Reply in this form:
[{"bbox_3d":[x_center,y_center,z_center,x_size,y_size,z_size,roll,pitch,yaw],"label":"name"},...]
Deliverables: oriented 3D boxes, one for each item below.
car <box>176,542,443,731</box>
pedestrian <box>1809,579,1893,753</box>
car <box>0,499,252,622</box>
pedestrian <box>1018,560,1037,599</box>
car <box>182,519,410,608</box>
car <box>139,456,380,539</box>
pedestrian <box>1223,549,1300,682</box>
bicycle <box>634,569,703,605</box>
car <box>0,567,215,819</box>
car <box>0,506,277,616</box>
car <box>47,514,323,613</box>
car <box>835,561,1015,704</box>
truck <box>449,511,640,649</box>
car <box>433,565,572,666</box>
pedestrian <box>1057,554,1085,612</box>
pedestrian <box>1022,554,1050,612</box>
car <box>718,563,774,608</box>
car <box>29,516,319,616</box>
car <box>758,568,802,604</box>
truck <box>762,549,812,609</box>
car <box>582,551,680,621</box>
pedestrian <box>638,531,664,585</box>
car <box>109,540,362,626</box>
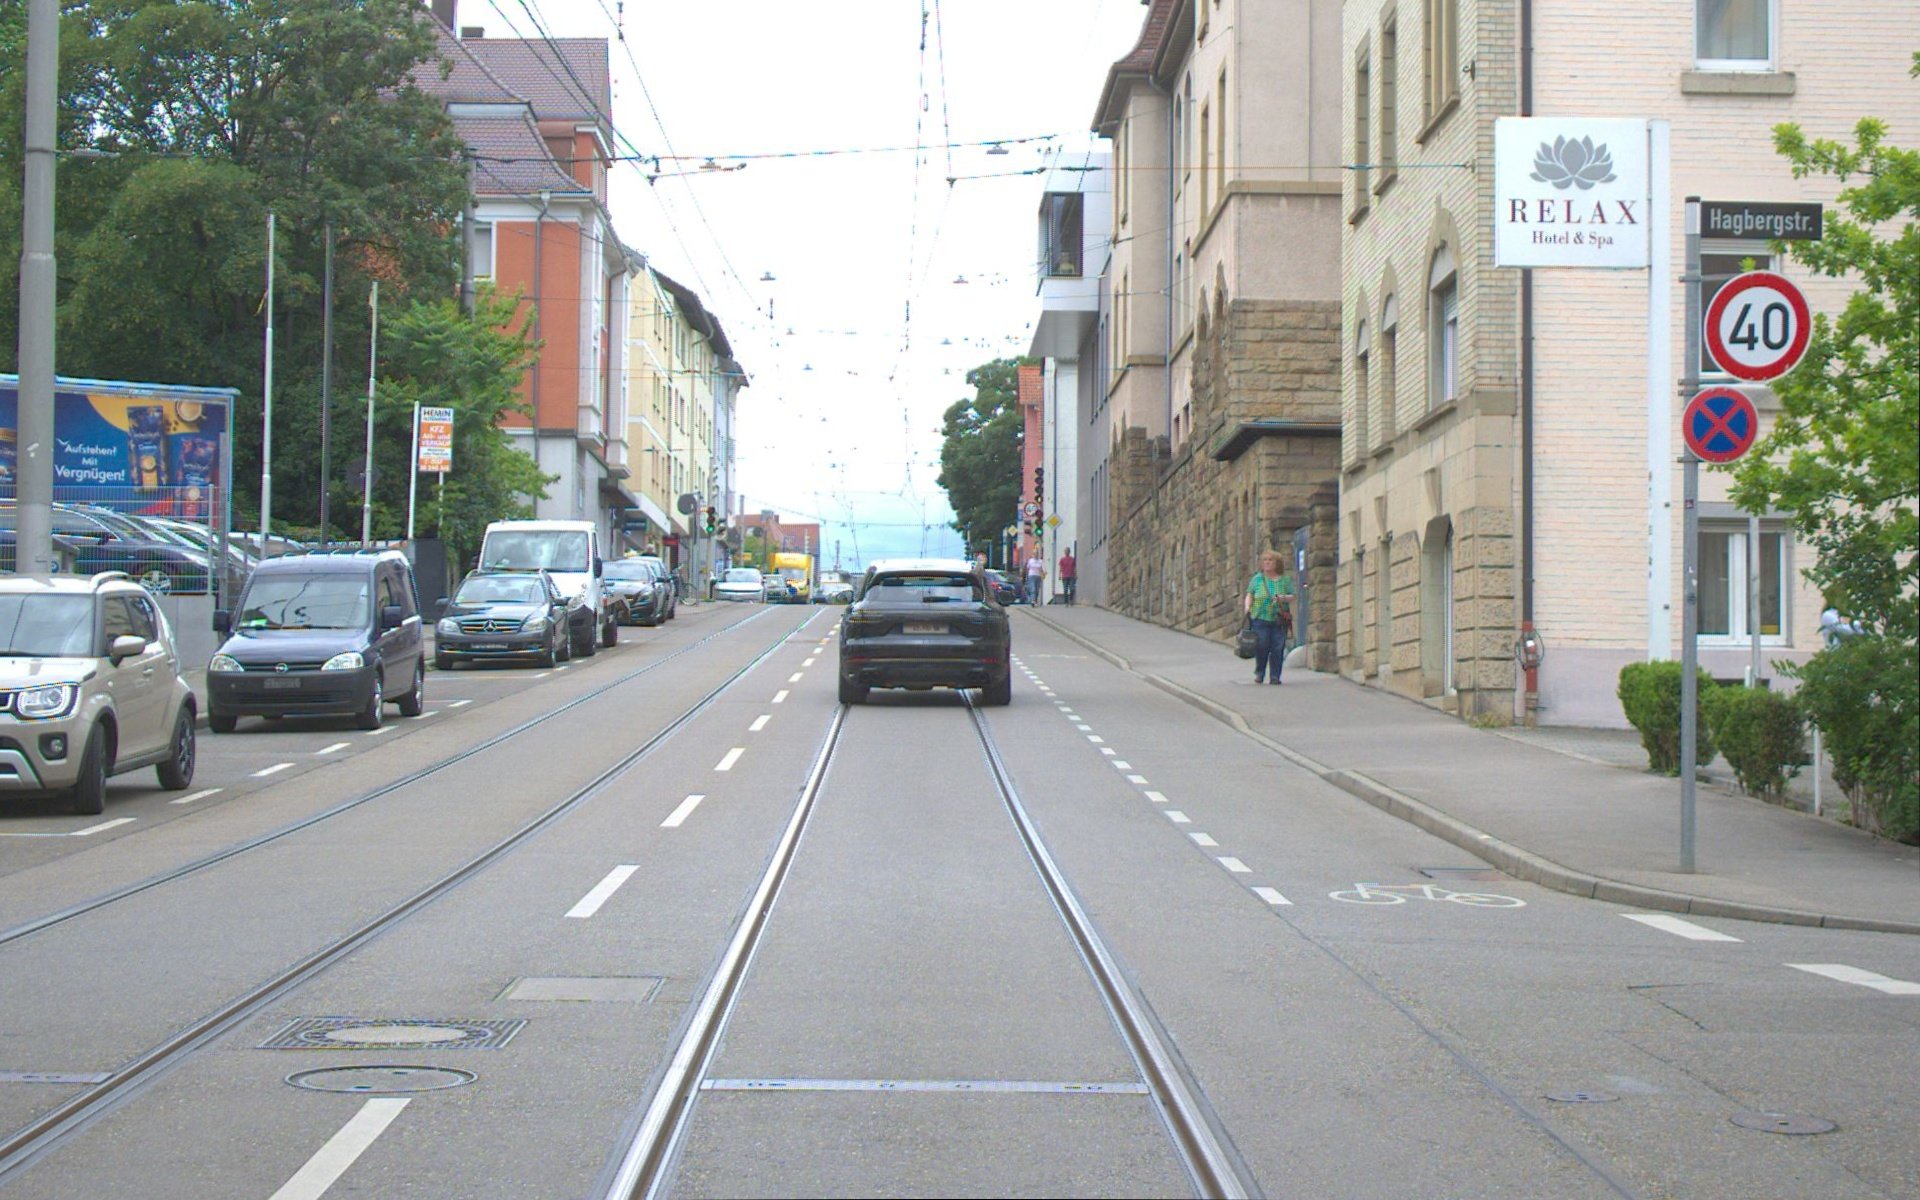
[{"bbox_3d":[-6.439,0.312,34.482,1.744,1.730,4.519,-1,1,1],"label":"car"},{"bbox_3d":[8.211,0.600,31.693,0.558,1.577,0.686,1,1,0],"label":"pedestrian"},{"bbox_3d":[-12.113,-0.575,48.051,4.060,1.547,1.688,2,1,-1],"label":"car"},{"bbox_3d":[2.940,-0.907,150.374,0.791,1.661,0.798,1,1,2],"label":"pedestrian"},{"bbox_3d":[-12.143,-0.669,62.846,3.958,1.546,1.689,1,1,-15],"label":"car"},{"bbox_3d":[-12.243,-1.780,60.211,3.876,1.352,1.688,1,1,-1],"label":"car"},{"bbox_3d":[3.859,0.190,44.044,0.870,1.680,0.663,-1,1,-2],"label":"pedestrian"},{"bbox_3d":[-8.317,-0.380,98.236,1.911,0.996,0.479,1,1,0],"label":"bicycle"},{"bbox_3d":[-6.413,0.566,23.634,1.697,1.550,3.850,1,1,1],"label":"car"},{"bbox_3d":[-12.208,-0.580,50.334,4.060,1.518,1.739,1,1,-1],"label":"car"},{"bbox_3d":[-12.411,-0.594,55.207,4.060,1.489,1.688,1,1,-1],"label":"car"},{"bbox_3d":[-0.408,0.342,40.667,1.993,1.558,4.290,1,1,0],"label":"car"},{"bbox_3d":[-7.069,-0.376,59.355,2.280,2.180,8.025,1,1,0],"label":"truck"},{"bbox_3d":[-6.988,0.209,52.843,1.696,1.428,4.482,-1,1,-2],"label":"car"},{"bbox_3d":[3.236,-0.507,100.242,0.791,1.661,0.798,1,1,2],"label":"pedestrian"},{"bbox_3d":[2.216,-0.505,100.285,0.791,1.661,0.798,1,1,2],"label":"pedestrian"},{"bbox_3d":[-7.945,-0.568,127.916,1.855,1.601,4.297,1,1,-1],"label":"car"},{"bbox_3d":[-12.023,-0.533,52.771,4.060,1.440,1.688,1,1,-1],"label":"car"},{"bbox_3d":[-8.394,-0.678,160.474,1.855,1.601,4.297,1,1,-1],"label":"car"},{"bbox_3d":[-9.075,-1.128,180.921,2.302,3.026,9.034,1,0,-1],"label":"truck"},{"bbox_3d":[-7.078,-0.316,74.176,1.712,1.441,4.290,1,1,0],"label":"car"},{"bbox_3d":[-10.113,-1.371,112.490,0.775,1.770,0.650,1,1,0],"label":"pedestrian"},{"bbox_3d":[-12.098,-0.299,57.568,3.876,1.352,1.688,1,1,-1],"label":"car"}]
